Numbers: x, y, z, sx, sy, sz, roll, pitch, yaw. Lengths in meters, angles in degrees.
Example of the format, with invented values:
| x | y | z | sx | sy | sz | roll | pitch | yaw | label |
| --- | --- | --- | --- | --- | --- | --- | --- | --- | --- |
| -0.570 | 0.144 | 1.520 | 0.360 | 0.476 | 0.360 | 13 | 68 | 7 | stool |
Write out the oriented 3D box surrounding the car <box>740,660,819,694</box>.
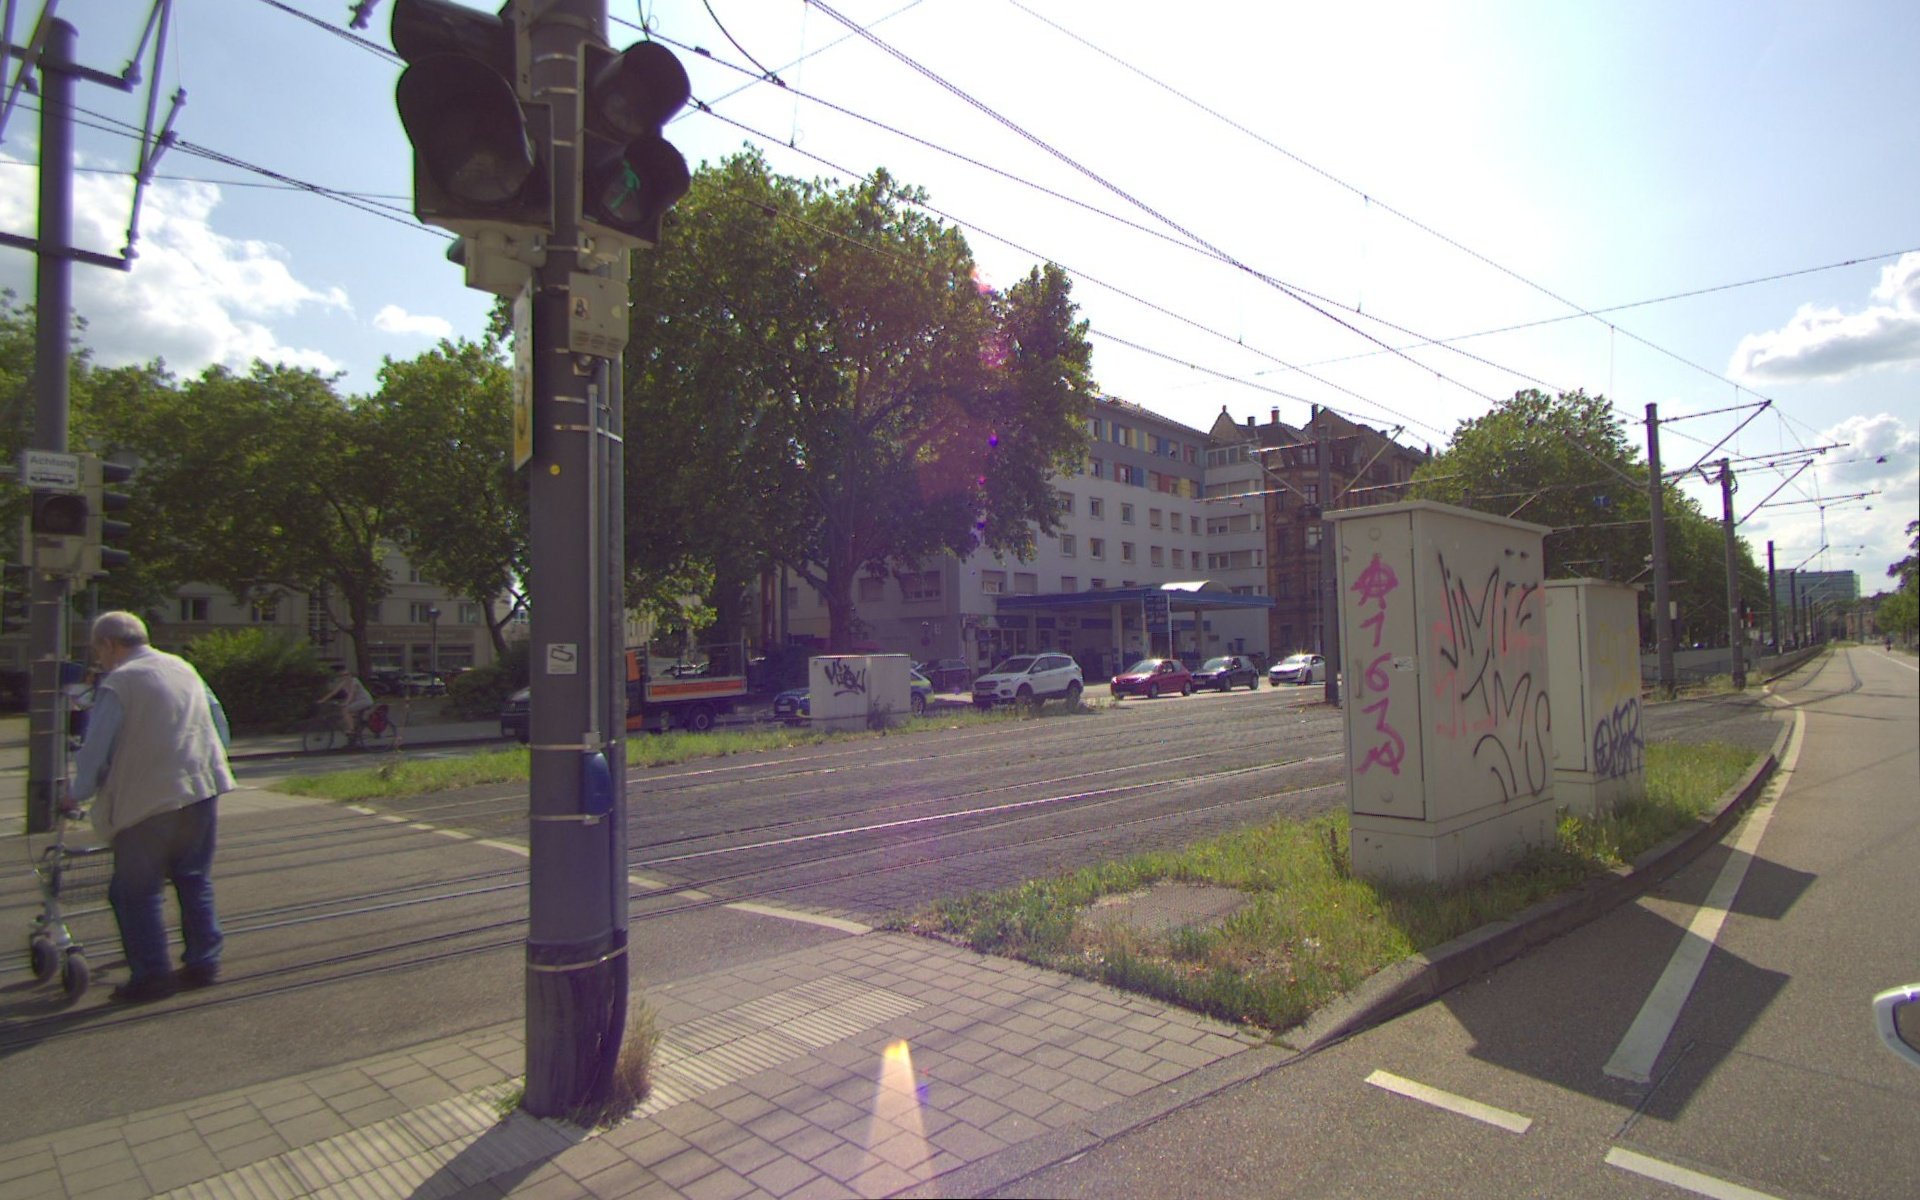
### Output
| x | y | z | sx | sy | sz | roll | pitch | yaw | label |
| --- | --- | --- | --- | --- | --- | --- | --- | --- | --- |
| -9.359 | 3.987 | 52.346 | 1.509 | 1.624 | 3.981 | -5 | -5 | 40 | car |

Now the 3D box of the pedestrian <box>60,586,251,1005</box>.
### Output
| x | y | z | sx | sy | sz | roll | pitch | yaw | label |
| --- | --- | --- | --- | --- | --- | --- | --- | --- | --- |
| -3.684 | 0.836 | 4.612 | 0.520 | 1.755 | 0.555 | -3 | -3 | 37 | pedestrian |

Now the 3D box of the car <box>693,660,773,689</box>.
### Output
| x | y | z | sx | sy | sz | roll | pitch | yaw | label |
| --- | --- | --- | --- | --- | --- | --- | --- | --- | --- |
| -12.281 | 4.008 | 54.418 | 1.742 | 1.381 | 3.981 | -7 | -6 | 40 | car |

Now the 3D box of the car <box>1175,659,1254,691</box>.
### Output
| x | y | z | sx | sy | sz | roll | pitch | yaw | label |
| --- | --- | --- | --- | --- | --- | --- | --- | --- | --- |
| 10.568 | 3.080 | 41.575 | 1.599 | 1.204 | 3.613 | -4 | -4 | 43 | car |

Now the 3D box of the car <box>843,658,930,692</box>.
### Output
| x | y | z | sx | sy | sz | roll | pitch | yaw | label |
| --- | --- | --- | --- | --- | --- | --- | --- | --- | --- |
| -3.370 | 3.468 | 46.682 | 1.732 | 1.429 | 3.981 | -4 | -4 | 40 | car |

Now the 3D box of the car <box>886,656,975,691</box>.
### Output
| x | y | z | sx | sy | sz | roll | pitch | yaw | label |
| --- | --- | --- | --- | --- | --- | --- | --- | --- | --- |
| -1.287 | 3.256 | 44.985 | 1.732 | 1.429 | 3.981 | -4 | -4 | 40 | car |

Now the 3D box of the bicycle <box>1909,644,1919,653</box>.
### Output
| x | y | z | sx | sy | sz | roll | pitch | yaw | label |
| --- | --- | --- | --- | --- | --- | --- | --- | --- | --- |
| 107.017 | 5.384 | 111.910 | 1.795 | 0.914 | 0.649 | -6 | -5 | 39 | bicycle |

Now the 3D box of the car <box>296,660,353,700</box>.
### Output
| x | y | z | sx | sy | sz | roll | pitch | yaw | label |
| --- | --- | --- | --- | --- | --- | --- | --- | --- | --- |
| -36.072 | 4.548 | 56.987 | 2.238 | 2.039 | 3.890 | 1 | -6 | -41 | car |

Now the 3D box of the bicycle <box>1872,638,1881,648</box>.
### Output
| x | y | z | sx | sy | sz | roll | pitch | yaw | label |
| --- | --- | --- | --- | --- | --- | --- | --- | --- | --- |
| 120.592 | 5.674 | 132.226 | 0.790 | 1.253 | 2.763 | -3 | -4 | 42 | bicycle |

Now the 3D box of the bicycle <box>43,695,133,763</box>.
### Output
| x | y | z | sx | sy | sz | roll | pitch | yaw | label |
| --- | --- | --- | --- | --- | --- | --- | --- | --- | --- |
| -16.653 | 2.444 | 19.228 | 0.498 | 1.127 | 1.629 | 0 | -1 | -9 | bicycle |

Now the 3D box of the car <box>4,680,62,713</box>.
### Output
| x | y | z | sx | sy | sz | roll | pitch | yaw | label |
| --- | --- | --- | --- | --- | --- | --- | --- | --- | --- |
| -51.623 | 5.352 | 55.925 | 4.022 | 1.681 | 1.843 | -4 | -4 | 39 | car |

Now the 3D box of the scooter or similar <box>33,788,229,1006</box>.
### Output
| x | y | z | sx | sy | sz | roll | pitch | yaw | label |
| --- | --- | --- | --- | --- | --- | --- | --- | --- | --- |
| -3.988 | 1.376 | 4.831 | 0.828 | 0.814 | 0.551 | -3 | -3 | 37 | scooter or similar |

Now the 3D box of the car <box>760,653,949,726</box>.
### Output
| x | y | z | sx | sy | sz | roll | pitch | yaw | label |
| --- | --- | --- | --- | --- | --- | --- | --- | --- | --- |
| -2.713 | 2.343 | 26.957 | 1.846 | 1.673 | 5.127 | -6 | -5 | 41 | car |

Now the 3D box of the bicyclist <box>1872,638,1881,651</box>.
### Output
| x | y | z | sx | sy | sz | roll | pitch | yaw | label |
| --- | --- | --- | --- | --- | --- | --- | --- | --- | --- |
| 120.623 | 5.866 | 132.242 | 0.762 | 1.753 | 1.021 | -3 | -4 | 42 | bicyclist |

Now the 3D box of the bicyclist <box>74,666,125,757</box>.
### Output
| x | y | z | sx | sy | sz | roll | pitch | yaw | label |
| --- | --- | --- | --- | --- | --- | --- | --- | --- | --- |
| -16.693 | 2.150 | 19.489 | 0.498 | 1.690 | 0.583 | 0 | -1 | -9 | bicyclist |

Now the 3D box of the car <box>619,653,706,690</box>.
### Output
| x | y | z | sx | sy | sz | roll | pitch | yaw | label |
| --- | --- | --- | --- | --- | --- | --- | --- | --- | --- |
| -17.649 | 4.217 | 59.756 | 1.971 | 1.959 | 4.660 | -7 | -6 | 40 | car |

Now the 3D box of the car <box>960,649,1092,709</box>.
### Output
| x | y | z | sx | sy | sz | roll | pitch | yaw | label |
| --- | --- | --- | --- | --- | --- | --- | --- | --- | --- |
| 2.206 | 2.491 | 32.458 | 1.740 | 1.628 | 4.655 | -4 | -3 | 41 | car |

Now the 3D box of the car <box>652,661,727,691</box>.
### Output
| x | y | z | sx | sy | sz | roll | pitch | yaw | label |
| --- | --- | --- | --- | --- | --- | --- | --- | --- | --- |
| -15.659 | 4.377 | 58.261 | 1.640 | 1.539 | 3.981 | -7 | -6 | 40 | car |

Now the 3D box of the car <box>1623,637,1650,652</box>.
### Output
| x | y | z | sx | sy | sz | roll | pitch | yaw | label |
| --- | --- | --- | --- | --- | --- | --- | --- | --- | --- |
| 82.747 | 5.489 | 122.880 | 1.974 | 1.657 | 3.976 | -7 | -6 | 43 | car |

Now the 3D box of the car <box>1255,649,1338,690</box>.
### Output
| x | y | z | sx | sy | sz | roll | pitch | yaw | label |
| --- | --- | --- | --- | --- | --- | --- | --- | --- | --- |
| 15.960 | 3.265 | 47.472 | 1.925 | 1.628 | 5.050 | -4 | -3 | 41 | car |

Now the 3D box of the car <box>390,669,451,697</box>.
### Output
| x | y | z | sx | sy | sz | roll | pitch | yaw | label |
| --- | --- | --- | --- | --- | --- | --- | --- | --- | --- |
| -32.523 | 4.975 | 60.552 | 4.022 | 1.553 | 1.843 | -4 | -4 | 39 | car |

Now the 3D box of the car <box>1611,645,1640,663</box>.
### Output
| x | y | z | sx | sy | sz | roll | pitch | yaw | label |
| --- | --- | --- | --- | --- | --- | --- | --- | --- | --- |
| 73.990 | 6.004 | 111.700 | 3.702 | 1.713 | 1.703 | 0 | -5 | -42 | car |

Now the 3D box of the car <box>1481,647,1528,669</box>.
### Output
| x | y | z | sx | sy | sz | roll | pitch | yaw | label |
| --- | --- | --- | --- | --- | --- | --- | --- | --- | --- |
| 36.859 | 3.914 | 67.964 | 3.756 | 1.435 | 1.653 | 1 | -4 | -43 | car |

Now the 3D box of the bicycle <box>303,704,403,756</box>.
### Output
| x | y | z | sx | sy | sz | roll | pitch | yaw | label |
| --- | --- | --- | --- | --- | --- | --- | --- | --- | --- |
| -12.427 | 2.644 | 20.597 | 1.703 | 0.933 | 0.465 | 1 | -3 | -40 | bicycle |

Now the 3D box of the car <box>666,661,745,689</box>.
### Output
| x | y | z | sx | sy | sz | roll | pitch | yaw | label |
| --- | --- | --- | --- | --- | --- | --- | --- | --- | --- |
| -14.139 | 4.168 | 56.023 | 1.742 | 1.381 | 3.981 | -7 | -6 | 40 | car |

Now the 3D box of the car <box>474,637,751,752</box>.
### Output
| x | y | z | sx | sy | sz | roll | pitch | yaw | label |
| --- | --- | --- | --- | --- | --- | --- | --- | --- | --- |
| -7.292 | 1.913 | 21.597 | 2.052 | 2.012 | 5.308 | -4 | -3 | 41 | car |

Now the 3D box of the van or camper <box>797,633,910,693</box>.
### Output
| x | y | z | sx | sy | sz | roll | pitch | yaw | label |
| --- | --- | --- | --- | --- | --- | --- | --- | --- | --- |
| -5.131 | 3.048 | 48.978 | 2.081 | 2.674 | 5.319 | -7 | -6 | 42 | van or camper |

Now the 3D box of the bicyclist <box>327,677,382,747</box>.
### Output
| x | y | z | sx | sy | sz | roll | pitch | yaw | label |
| --- | --- | --- | --- | --- | --- | --- | --- | --- | --- |
| -12.426 | 2.275 | 20.618 | 0.902 | 1.361 | 0.465 | 1 | -3 | -40 | bicyclist |

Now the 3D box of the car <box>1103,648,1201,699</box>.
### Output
| x | y | z | sx | sy | sz | roll | pitch | yaw | label |
| --- | --- | --- | --- | --- | --- | --- | --- | --- | --- |
| 7.180 | 2.707 | 37.387 | 1.693 | 1.628 | 4.122 | -4 | -3 | 41 | car |
